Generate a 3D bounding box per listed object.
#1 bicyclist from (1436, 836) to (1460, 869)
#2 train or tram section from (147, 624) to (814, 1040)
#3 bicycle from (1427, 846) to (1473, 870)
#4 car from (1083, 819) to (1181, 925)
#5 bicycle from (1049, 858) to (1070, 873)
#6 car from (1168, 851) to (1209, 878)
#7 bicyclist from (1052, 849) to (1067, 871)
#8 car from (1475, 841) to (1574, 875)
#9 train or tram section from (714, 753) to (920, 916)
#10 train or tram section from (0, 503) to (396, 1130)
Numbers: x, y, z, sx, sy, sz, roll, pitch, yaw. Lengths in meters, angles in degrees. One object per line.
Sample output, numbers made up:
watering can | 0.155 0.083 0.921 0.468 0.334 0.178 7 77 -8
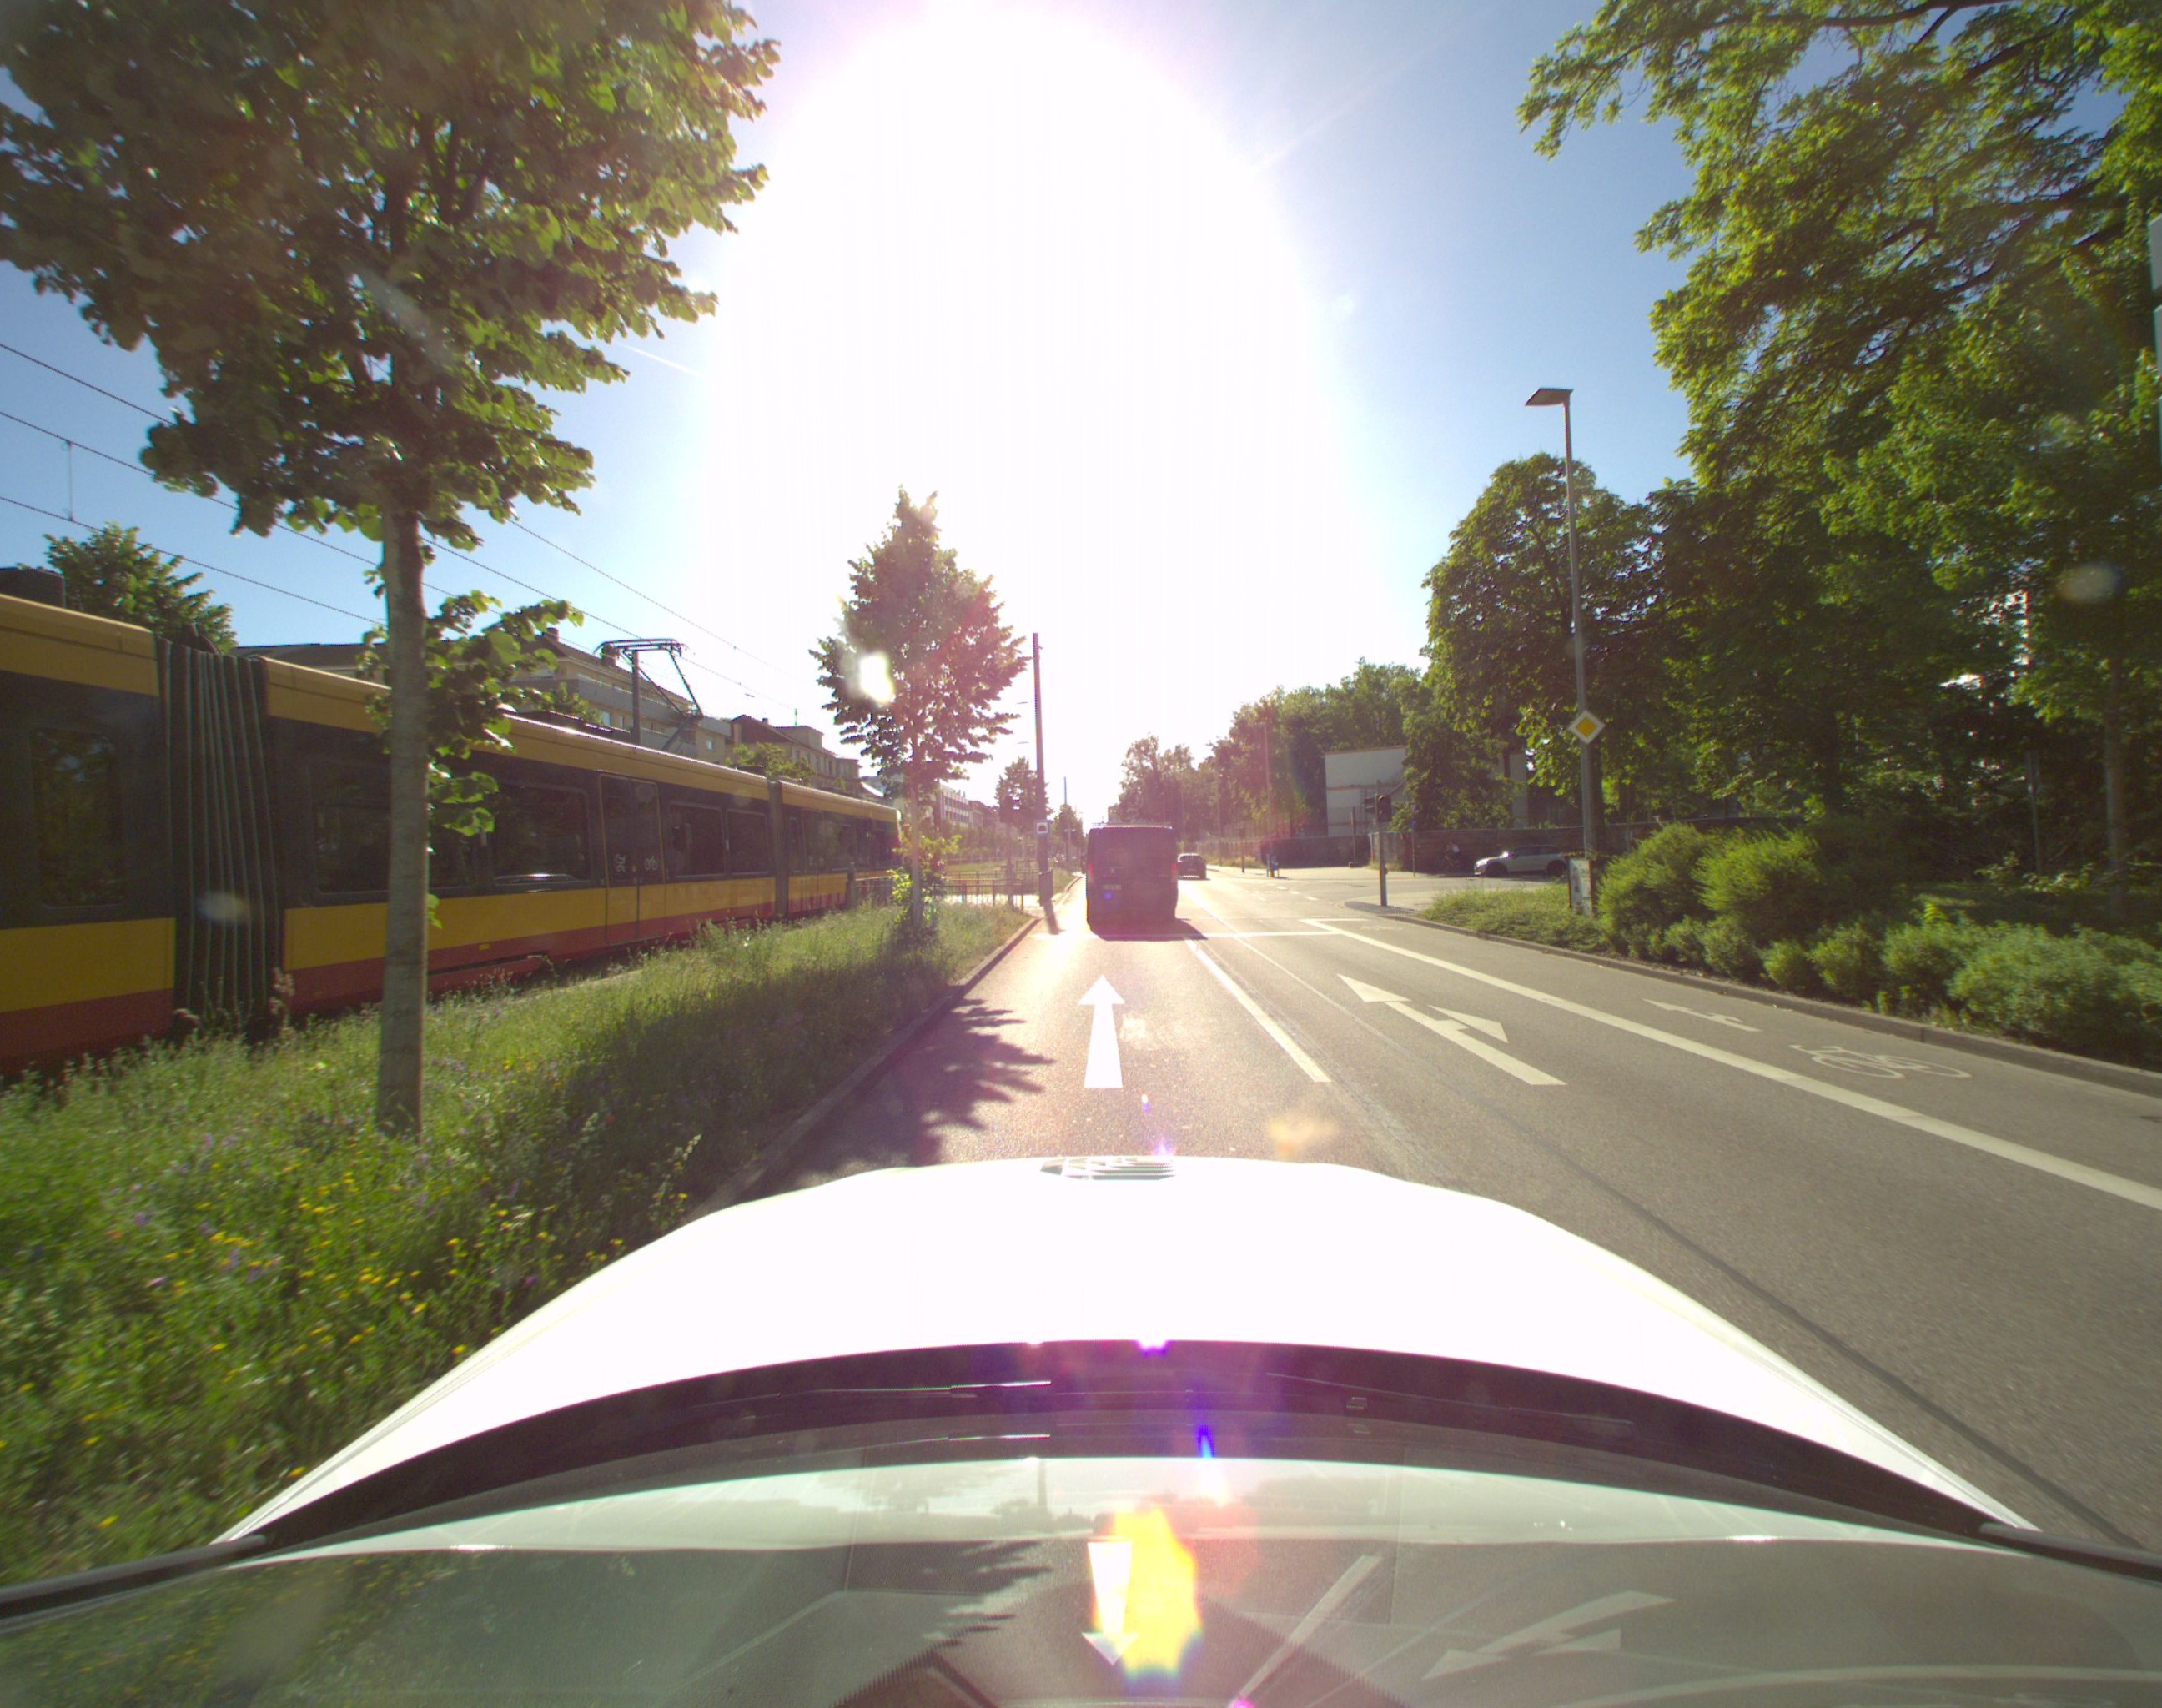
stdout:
bicyclist | 19.064 -0.073 42.312 0.848 1.673 0.742 -3 0 -5
train or tram section | -7.212 -0.196 12.921 1.986 3.669 11.318 -1 0 1
bicycle | 19.173 0.204 42.367 2.114 1.112 0.603 -4 0 -5
car | 1.133 0.383 19.554 2.075 2.249 4.000 -1 0 1
bicycle | -1.561 0.820 58.286 0.736 1.091 2.066 -1 0 -25
car | 6.101 0.561 46.628 1.758 1.462 3.999 -1 0 -1
bicyclist | -1.507 0.422 58.181 0.830 1.512 0.724 -1 0 -24
car | 19.995 0.182 36.871 3.670 1.436 1.781 -1 0 17
train or tram section | -7.167 -0.438 24.363 1.986 3.669 11.687 -1 0 2
train or tram section | -7.354 -0.212 0.360 1.987 3.669 14.152 -1 0 1
